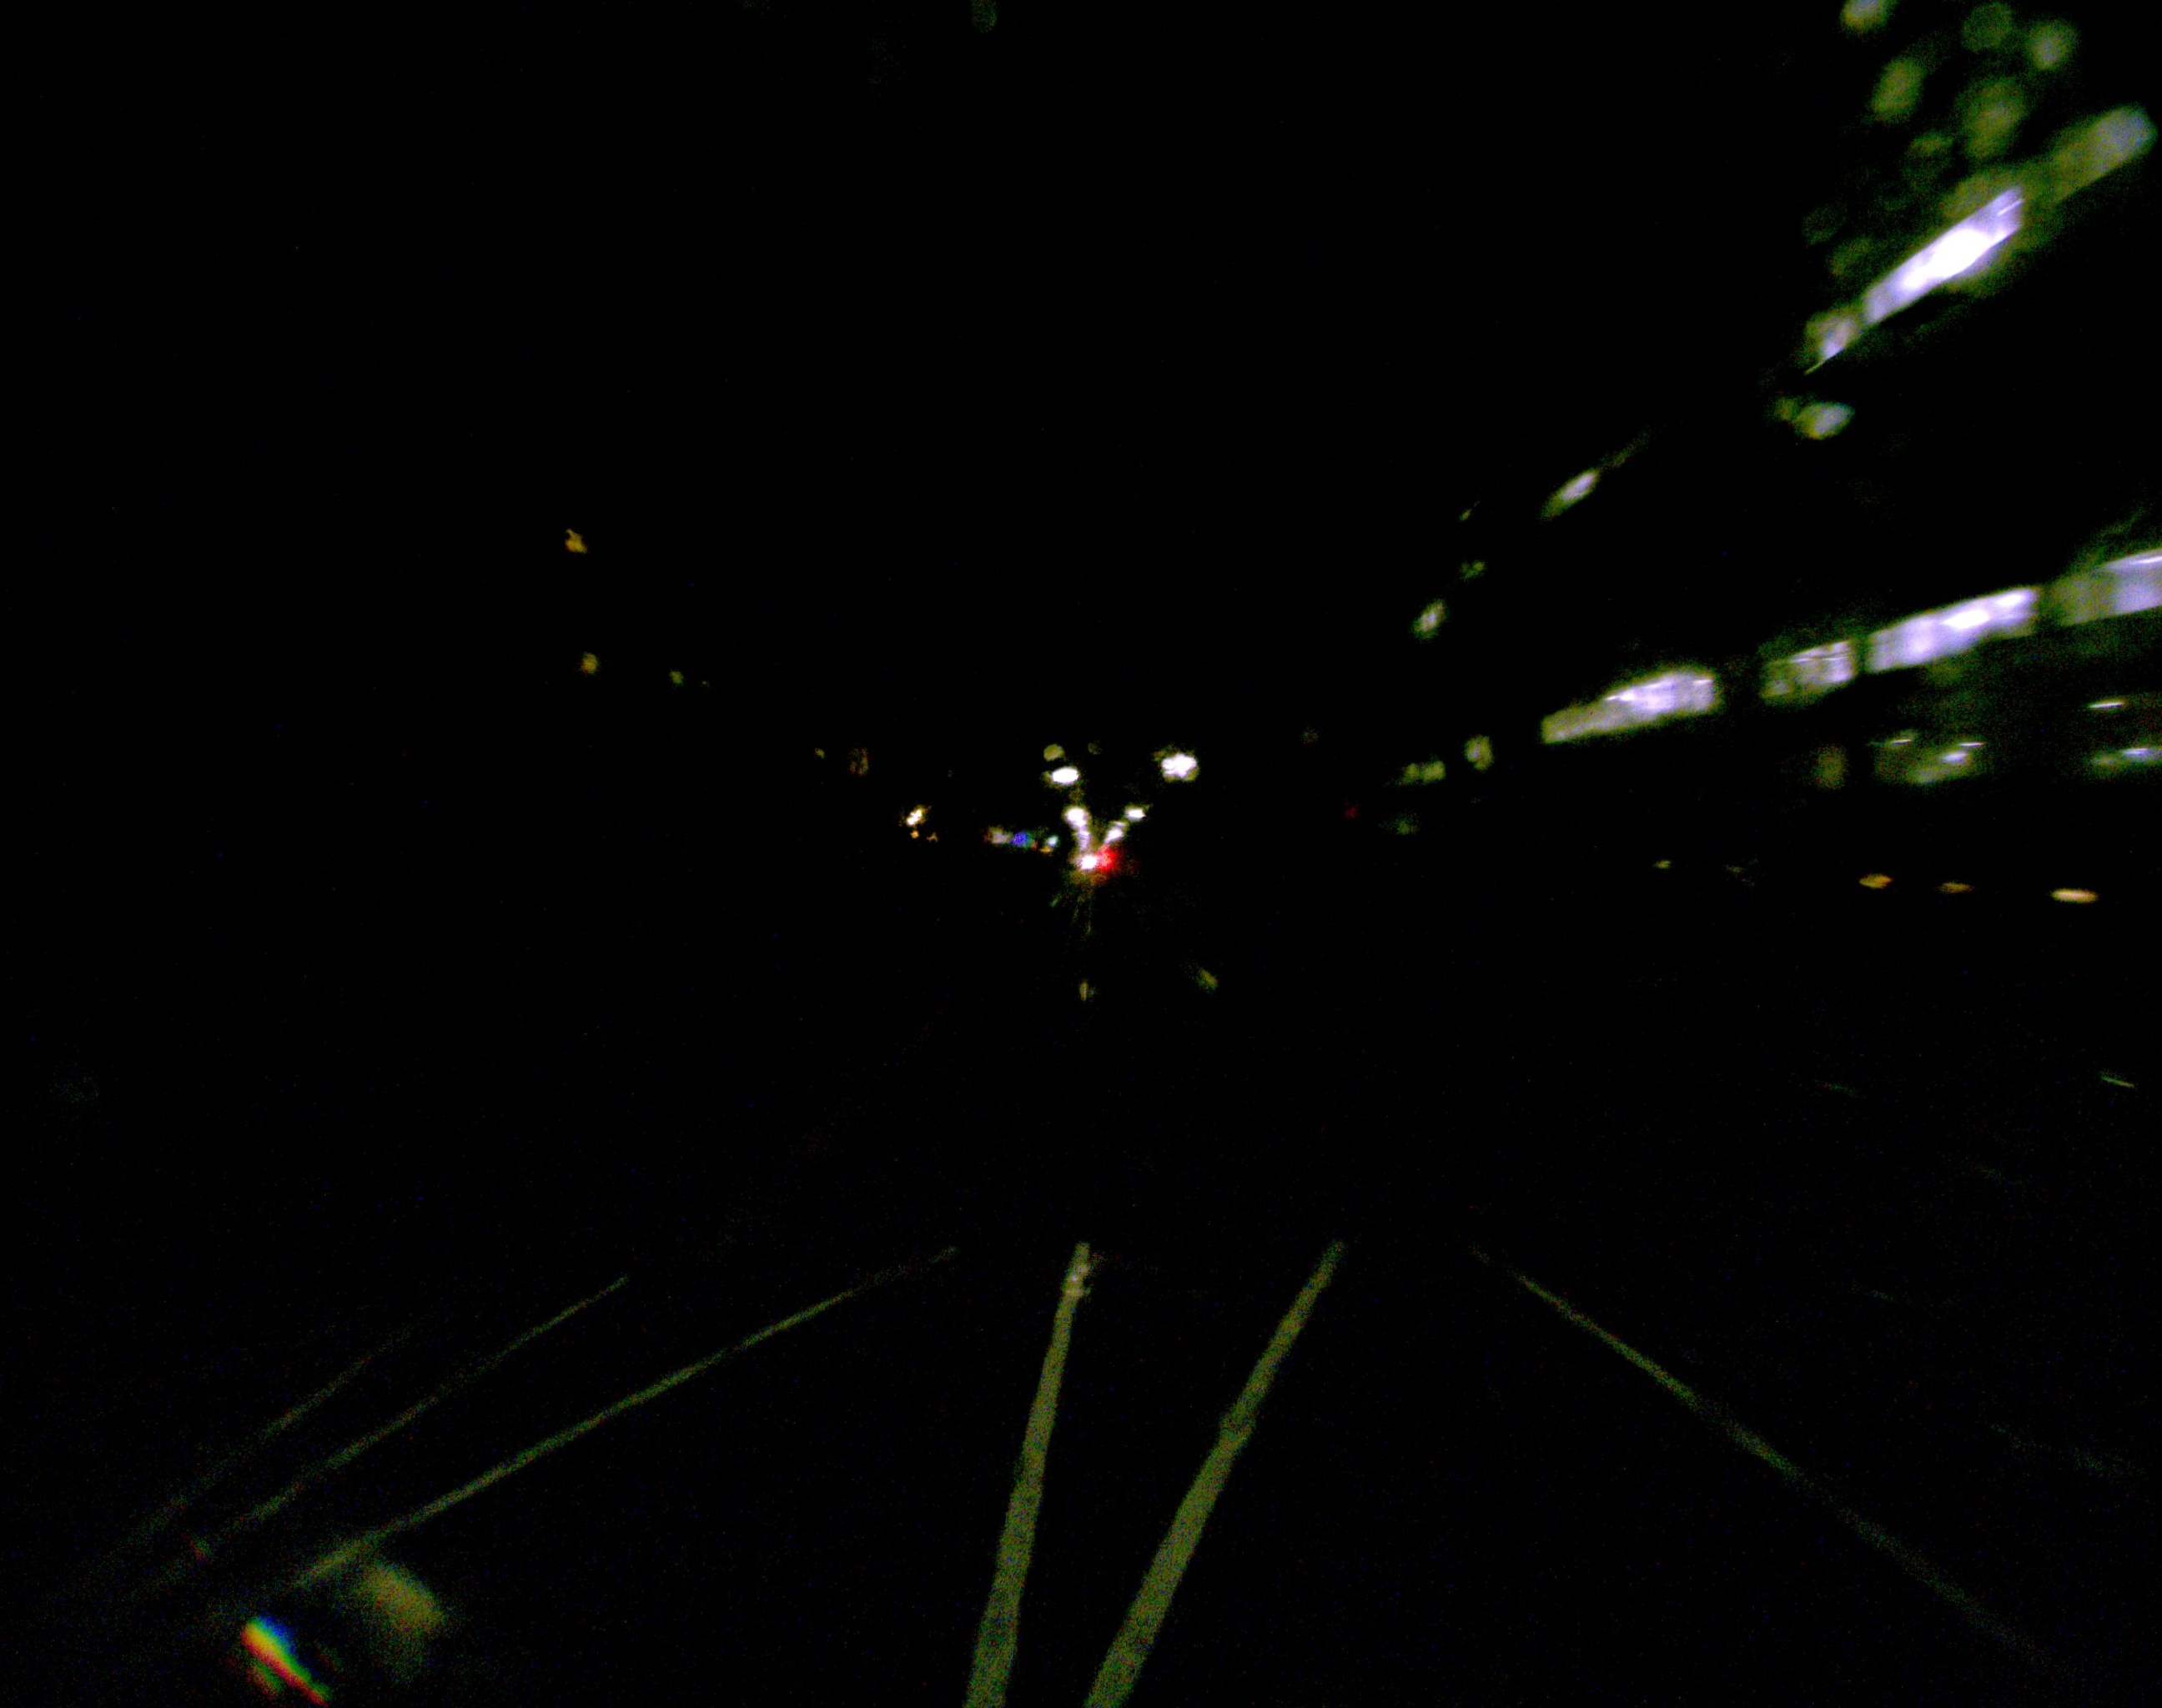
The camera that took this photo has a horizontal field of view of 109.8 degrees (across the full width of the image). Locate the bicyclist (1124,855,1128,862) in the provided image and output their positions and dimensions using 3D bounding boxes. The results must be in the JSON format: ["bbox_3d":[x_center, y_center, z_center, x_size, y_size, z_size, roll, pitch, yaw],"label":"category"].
[{"bbox_3d":[10.200,0.941,171.373,0.784,1.646,1.206,0,1,1],"label":"bicyclist"}]

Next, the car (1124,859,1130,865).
[{"bbox_3d":[13.228,2.261,218.926,1.723,1.447,3.950,-2,0,1],"label":"car"}]

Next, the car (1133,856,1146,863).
[{"bbox_3d":[12.196,1.157,158.554,1.893,1.454,4.958,-2,0,-3],"label":"car"}]

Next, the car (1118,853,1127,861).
[{"bbox_3d":[13.696,0.898,251.091,2.248,2.494,5.259,-4,0,-1],"label":"car"}]

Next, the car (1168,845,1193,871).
[{"bbox_3d":[10.820,0.447,83.331,2.190,2.576,6.393,-2,0,3],"label":"car"}]

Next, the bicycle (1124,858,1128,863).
[{"bbox_3d":[10.202,1.437,171.429,0.784,1.076,1.918,0,0,1],"label":"bicycle"}]

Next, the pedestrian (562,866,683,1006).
[{"bbox_3d":[-5.747,0.987,9.599,0.942,1.654,0.994,0,0,-3],"label":"pedestrian"}]

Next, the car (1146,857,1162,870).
[{"bbox_3d":[10.917,1.419,113.812,1.974,1.646,4.601,-4,0,3],"label":"car"}]

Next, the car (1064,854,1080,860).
[{"bbox_3d":[-2.635,0.804,216.071,4.349,1.459,1.677,-2,0,-37],"label":"car"}]

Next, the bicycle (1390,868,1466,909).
[{"bbox_3d":[9.904,0.986,21.723,1.858,1.071,0.627,-2,1,1],"label":"bicycle"}]

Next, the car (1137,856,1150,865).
[{"bbox_3d":[12.087,1.284,146.289,1.885,1.536,4.398,-5,0,-2],"label":"car"}]
